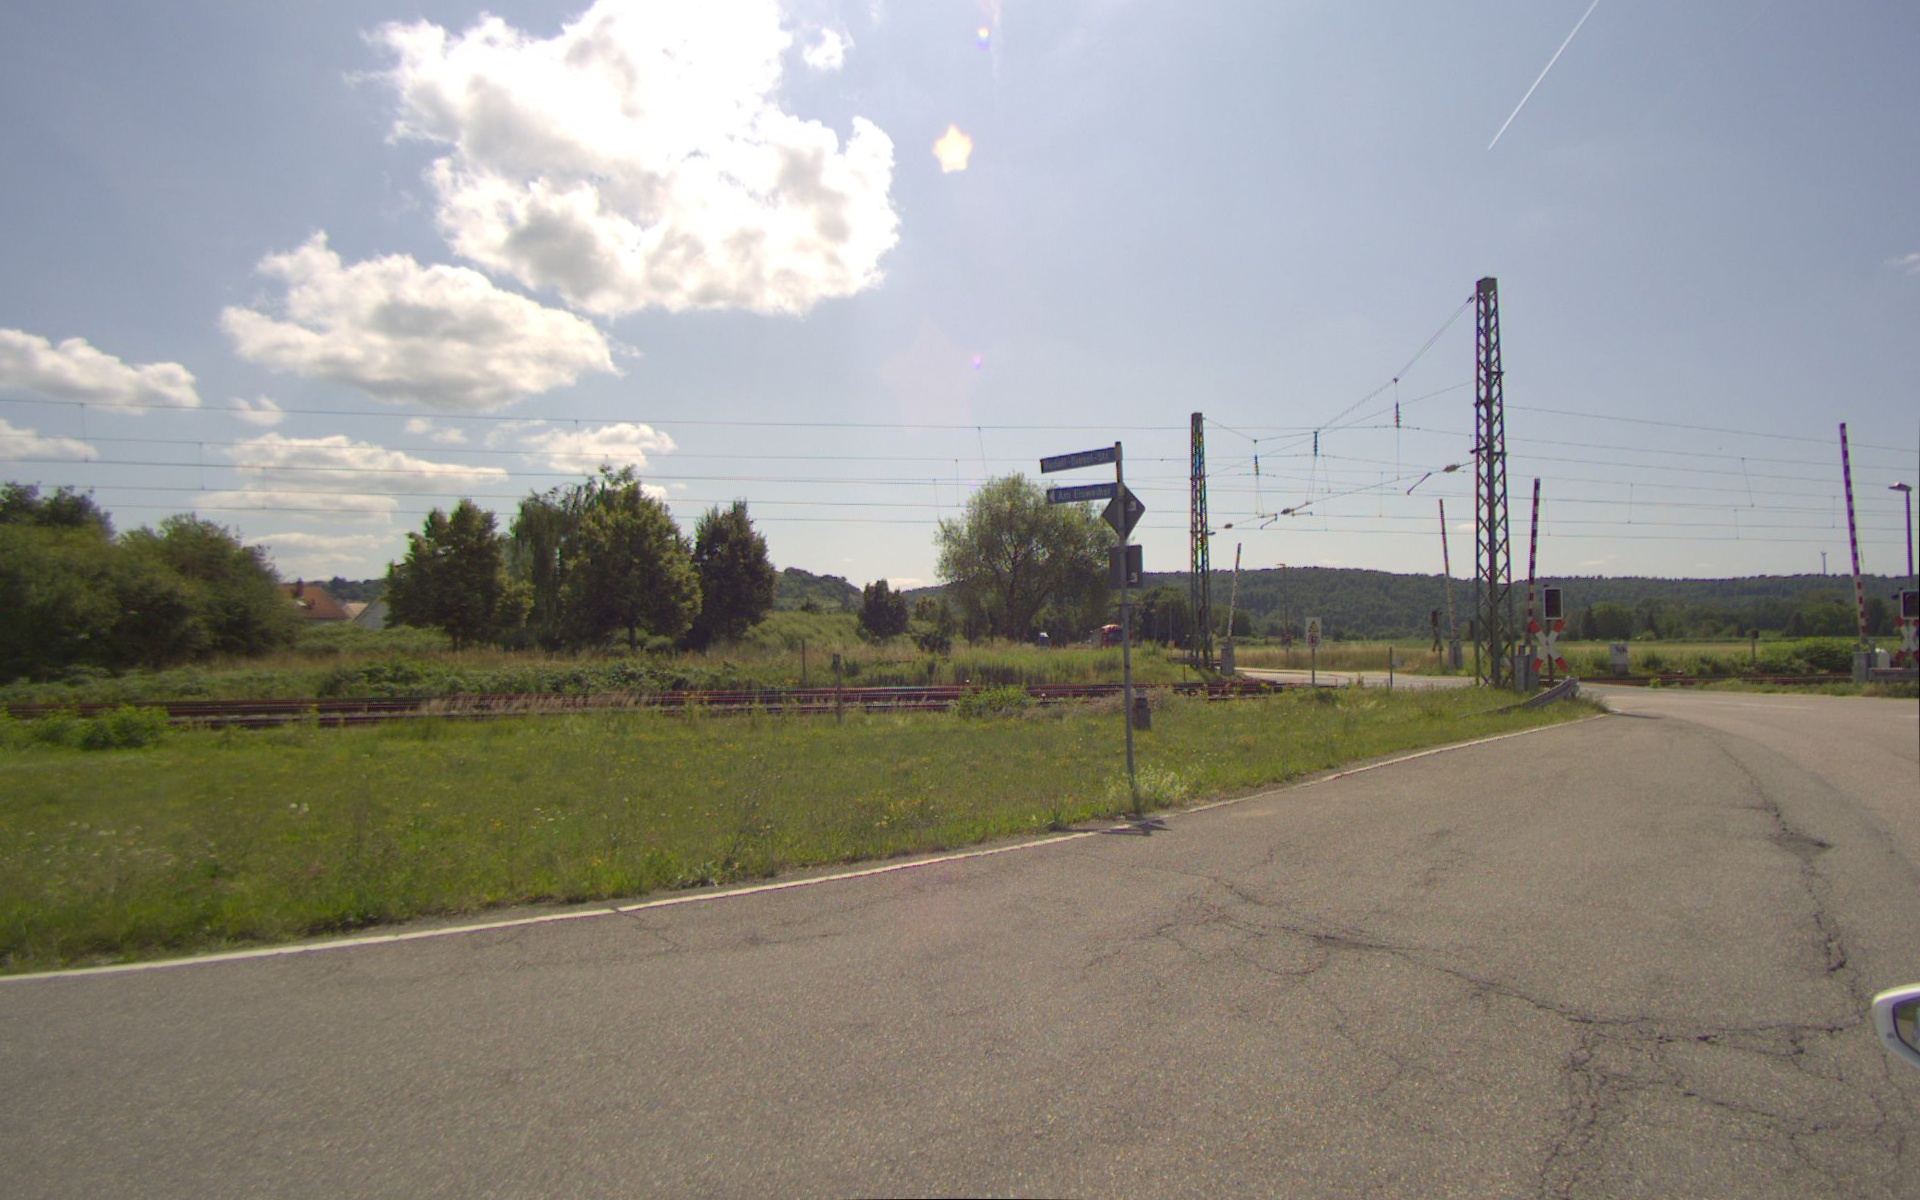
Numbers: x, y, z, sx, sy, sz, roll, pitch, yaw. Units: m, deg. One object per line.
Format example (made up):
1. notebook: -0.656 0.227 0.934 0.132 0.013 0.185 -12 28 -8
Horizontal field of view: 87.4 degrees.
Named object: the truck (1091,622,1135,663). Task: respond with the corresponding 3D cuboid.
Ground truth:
1. truck: 14.819 4.197 98.171 2.824 3.794 12.155 0 -3 2
